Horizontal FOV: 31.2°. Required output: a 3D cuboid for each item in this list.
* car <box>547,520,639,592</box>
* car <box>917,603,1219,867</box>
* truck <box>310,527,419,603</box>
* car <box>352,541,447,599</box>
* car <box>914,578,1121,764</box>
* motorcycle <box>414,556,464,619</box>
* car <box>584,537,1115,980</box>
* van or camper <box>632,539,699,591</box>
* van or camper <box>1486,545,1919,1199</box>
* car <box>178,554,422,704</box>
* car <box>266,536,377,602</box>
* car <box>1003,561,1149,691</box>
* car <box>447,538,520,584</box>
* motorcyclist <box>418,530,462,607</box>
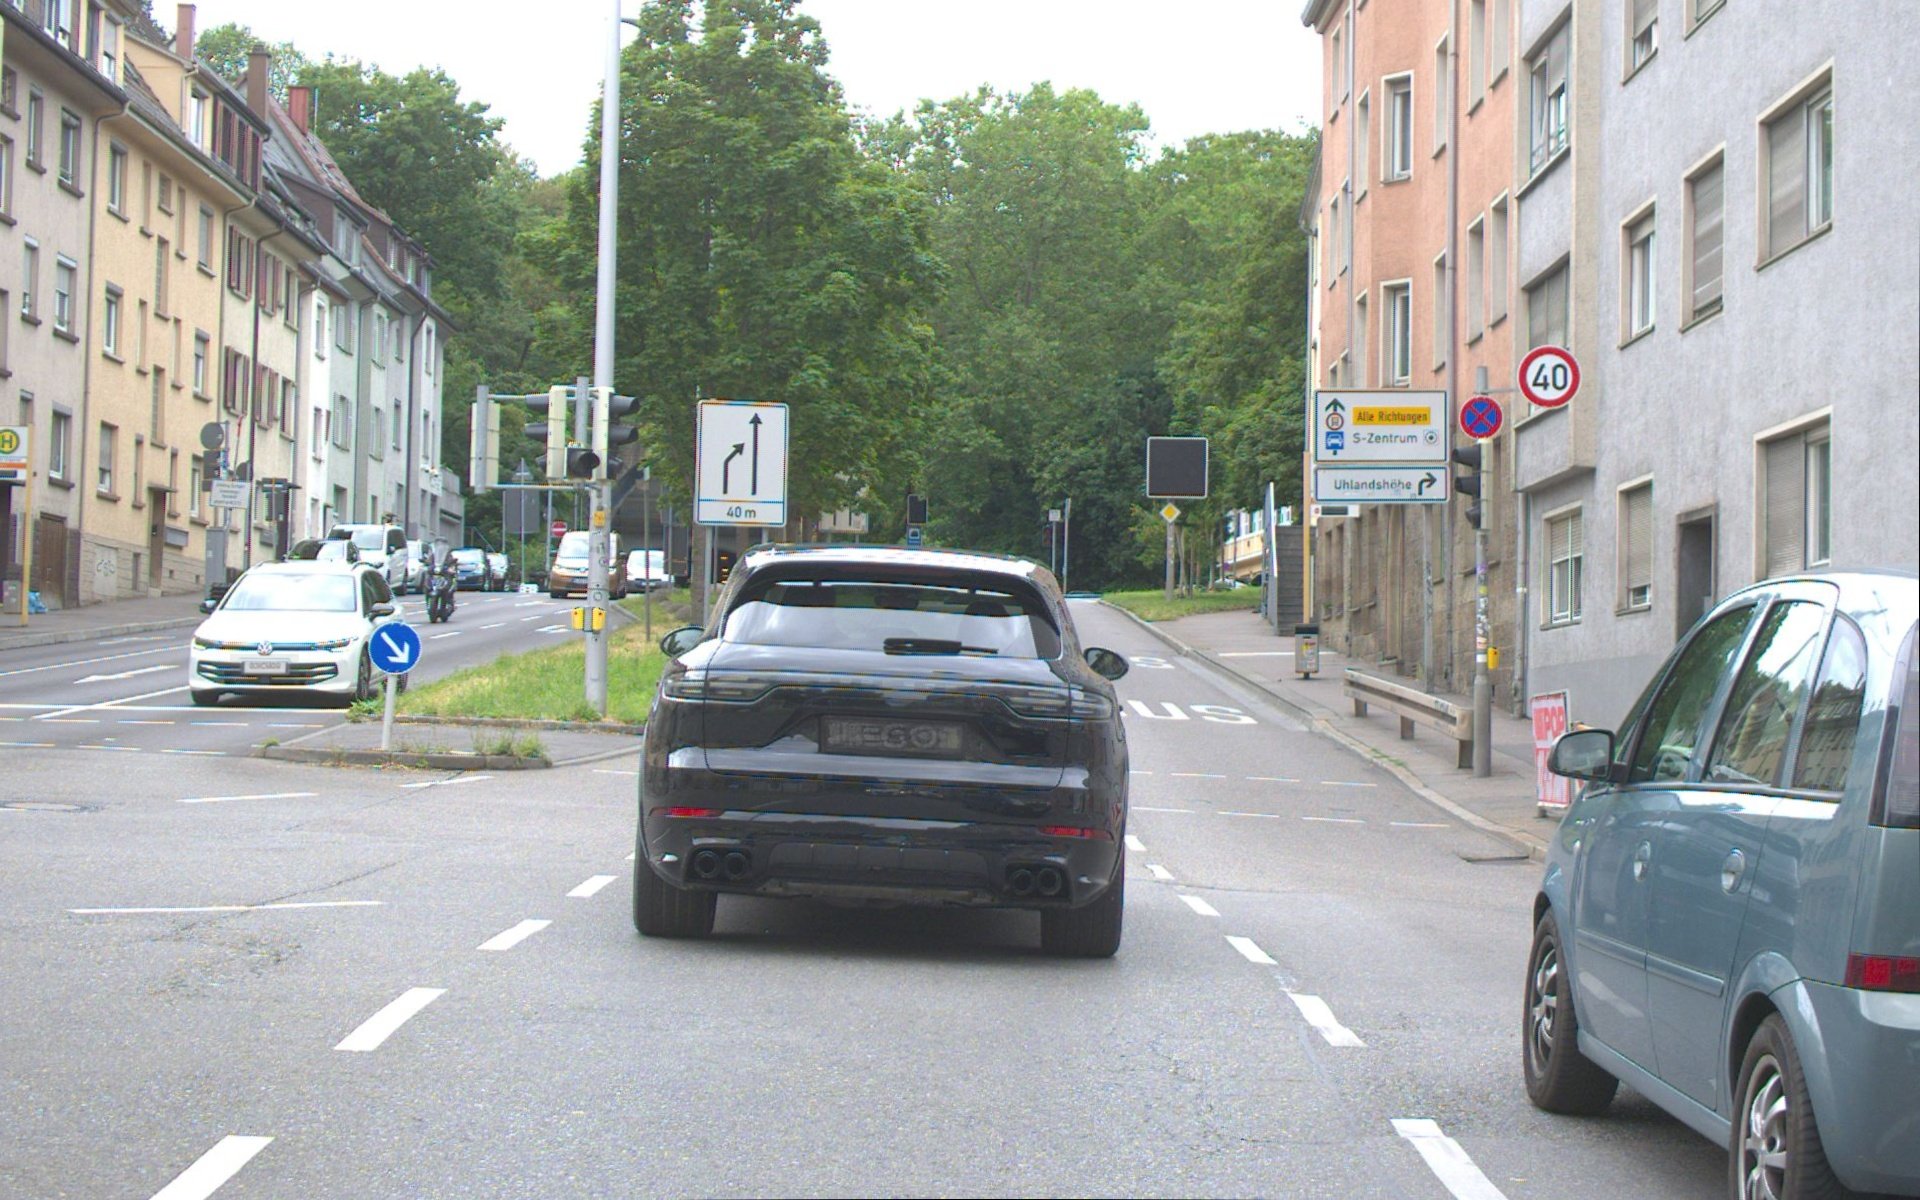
[{"bbox_3d":[-9.815,-1.175,92.260,1.879,1.809,4.351,2,1,1],"label":"car"},{"bbox_3d":[0.748,0.874,24.229,1.934,1.647,4.000,1,0,2],"label":"car"},{"bbox_3d":[-15.719,-0.923,91.010,1.993,1.913,5.347,1,0,-1],"label":"truck"},{"bbox_3d":[-15.721,-0.847,96.627,1.993,1.547,4.382,1,0,-1],"label":"car"},{"bbox_3d":[0.594,0.656,34.434,1.934,1.647,4.000,1,2,2],"label":"car"},{"bbox_3d":[-10.158,-0.240,67.059,0.545,1.180,2.205,2,0,1],"label":"motorcycle"},{"bbox_3d":[-0.367,0.600,15.016,1.993,1.647,4.000,1,0,2],"label":"car"},{"bbox_3d":[-10.591,-1.264,123.881,1.908,1.755,4.655,2,1,0],"label":"van or camper"},{"bbox_3d":[2.496,0.738,8.443,1.735,1.572,3.646,4,0,0],"label":"van or camper"},{"bbox_3d":[-6.981,0.259,36.794,1.745,1.462,4.586,2,1,-1],"label":"car"},{"bbox_3d":[-15.770,-0.758,85.059,1.993,1.547,4.158,1,0,-1],"label":"car"},{"bbox_3d":[1.605,0.327,47.975,1.934,1.647,4.000,1,2,2],"label":"car"},{"bbox_3d":[-15.330,-1.259,110.720,1.993,1.418,4.212,1,0,-4],"label":"car"},{"bbox_3d":[-10.146,-0.615,67.099,0.672,1.470,0.662,2,0,2],"label":"motorcyclist"}]
